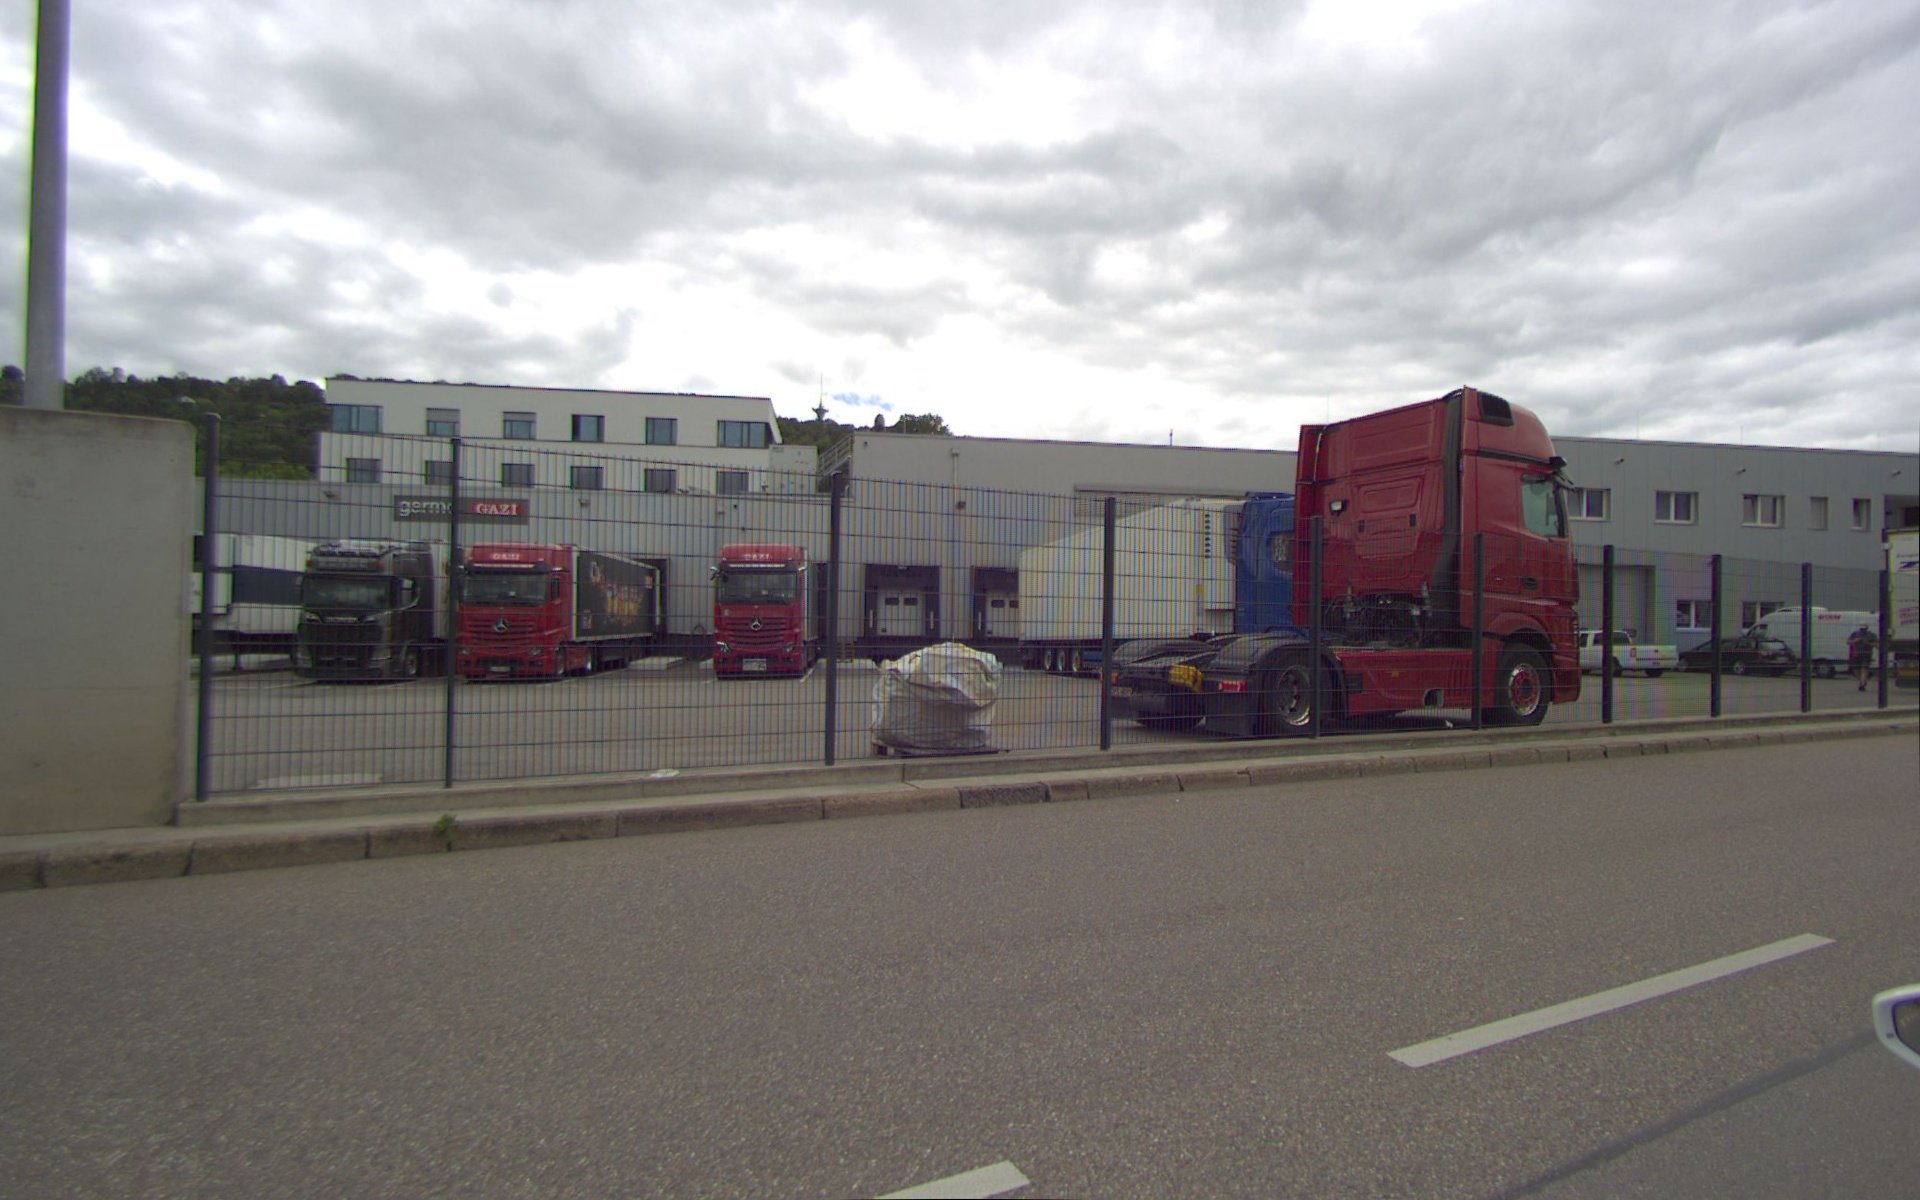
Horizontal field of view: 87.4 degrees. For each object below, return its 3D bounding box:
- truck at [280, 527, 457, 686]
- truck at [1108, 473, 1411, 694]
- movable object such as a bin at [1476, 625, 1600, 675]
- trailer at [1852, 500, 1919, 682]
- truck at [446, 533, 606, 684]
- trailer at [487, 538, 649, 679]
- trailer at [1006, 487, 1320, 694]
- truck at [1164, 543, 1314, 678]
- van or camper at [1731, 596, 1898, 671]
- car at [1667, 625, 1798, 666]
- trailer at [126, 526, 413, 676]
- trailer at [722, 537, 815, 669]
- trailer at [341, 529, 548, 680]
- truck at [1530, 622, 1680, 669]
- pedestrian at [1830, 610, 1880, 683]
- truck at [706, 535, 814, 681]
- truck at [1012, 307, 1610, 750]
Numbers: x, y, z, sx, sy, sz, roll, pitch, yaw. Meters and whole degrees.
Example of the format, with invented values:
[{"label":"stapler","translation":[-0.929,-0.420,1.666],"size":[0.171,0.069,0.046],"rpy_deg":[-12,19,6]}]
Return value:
[{"label":"truck","translation":[-16.379,0.232,28.143],"size":[2.750,4.093,4.160],"rpy_deg":[1,-1,-8]},{"label":"truck","translation":[6.265,-0.246,21.570],"size":[2.910,4.073,5.546],"rpy_deg":[2,-1,-42]},{"label":"movable object such as a bin","translation":[21.698,1.843,37.909],"size":[2.116,1.759,3.996],"rpy_deg":[1,-1,-6]},{"label":"trailer","translation":[29.201,-0.104,26.544],"size":[13.832,4.315,3.125],"rpy_deg":[1,-5,-26]},{"label":"truck","translation":[-12.605,0.300,29.753],"size":[2.750,3.980,5.919],"rpy_deg":[1,-1,-7]},{"label":"trailer","translation":[-13.326,0.395,35.347],"size":[2.741,4.131,10.983],"rpy_deg":[1,-1,-8]},{"label":"trailer","translation":[4.588,-0.054,27.707],"size":[2.984,4.239,13.984],"rpy_deg":[1,-1,-13]},{"label":"truck","translation":[8.878,0.382,32.713],"size":[2.750,3.980,5.920],"rpy_deg":[0,-1,-6]},{"label":"van or camper","translation":[34.084,1.306,40.302],"size":[2.066,2.799,4.981],"rpy_deg":[1,-1,-9]},{"label":"car","translation":[31.297,1.805,40.839],"size":[1.963,1.572,3.995],"rpy_deg":[1,-1,-8]},{"label":"trailer","translation":[-22.350,0.178,33.733],"size":[3.034,4.131,11.396],"rpy_deg":[1,-1,-8]},{"label":"trailer","translation":[-6.807,0.231,37.084],"size":[2.741,4.131,10.983],"rpy_deg":[1,-1,-8]},{"label":"trailer","translation":[-17.244,0.273,34.775],"size":[2.741,4.358,11.168],"rpy_deg":[1,-1,-8]},{"label":"truck","translation":[24.594,1.678,38.552],"size":[2.186,1.673,4.923],"rpy_deg":[1,-1,-8]},{"label":"pedestrian","translation":[23.300,1.205,26.157],"size":[0.812,1.854,0.696],"rpy_deg":[1,-1,-24]},{"label":"truck","translation":[-5.937,0.295,30.643],"size":[2.750,3.980,5.919],"rpy_deg":[1,-1,-7]},{"label":"truck","translation":[4.319,-0.568,12.102],"size":[6.853,4.073,2.911],"rpy_deg":[1,-1,-27]}]
